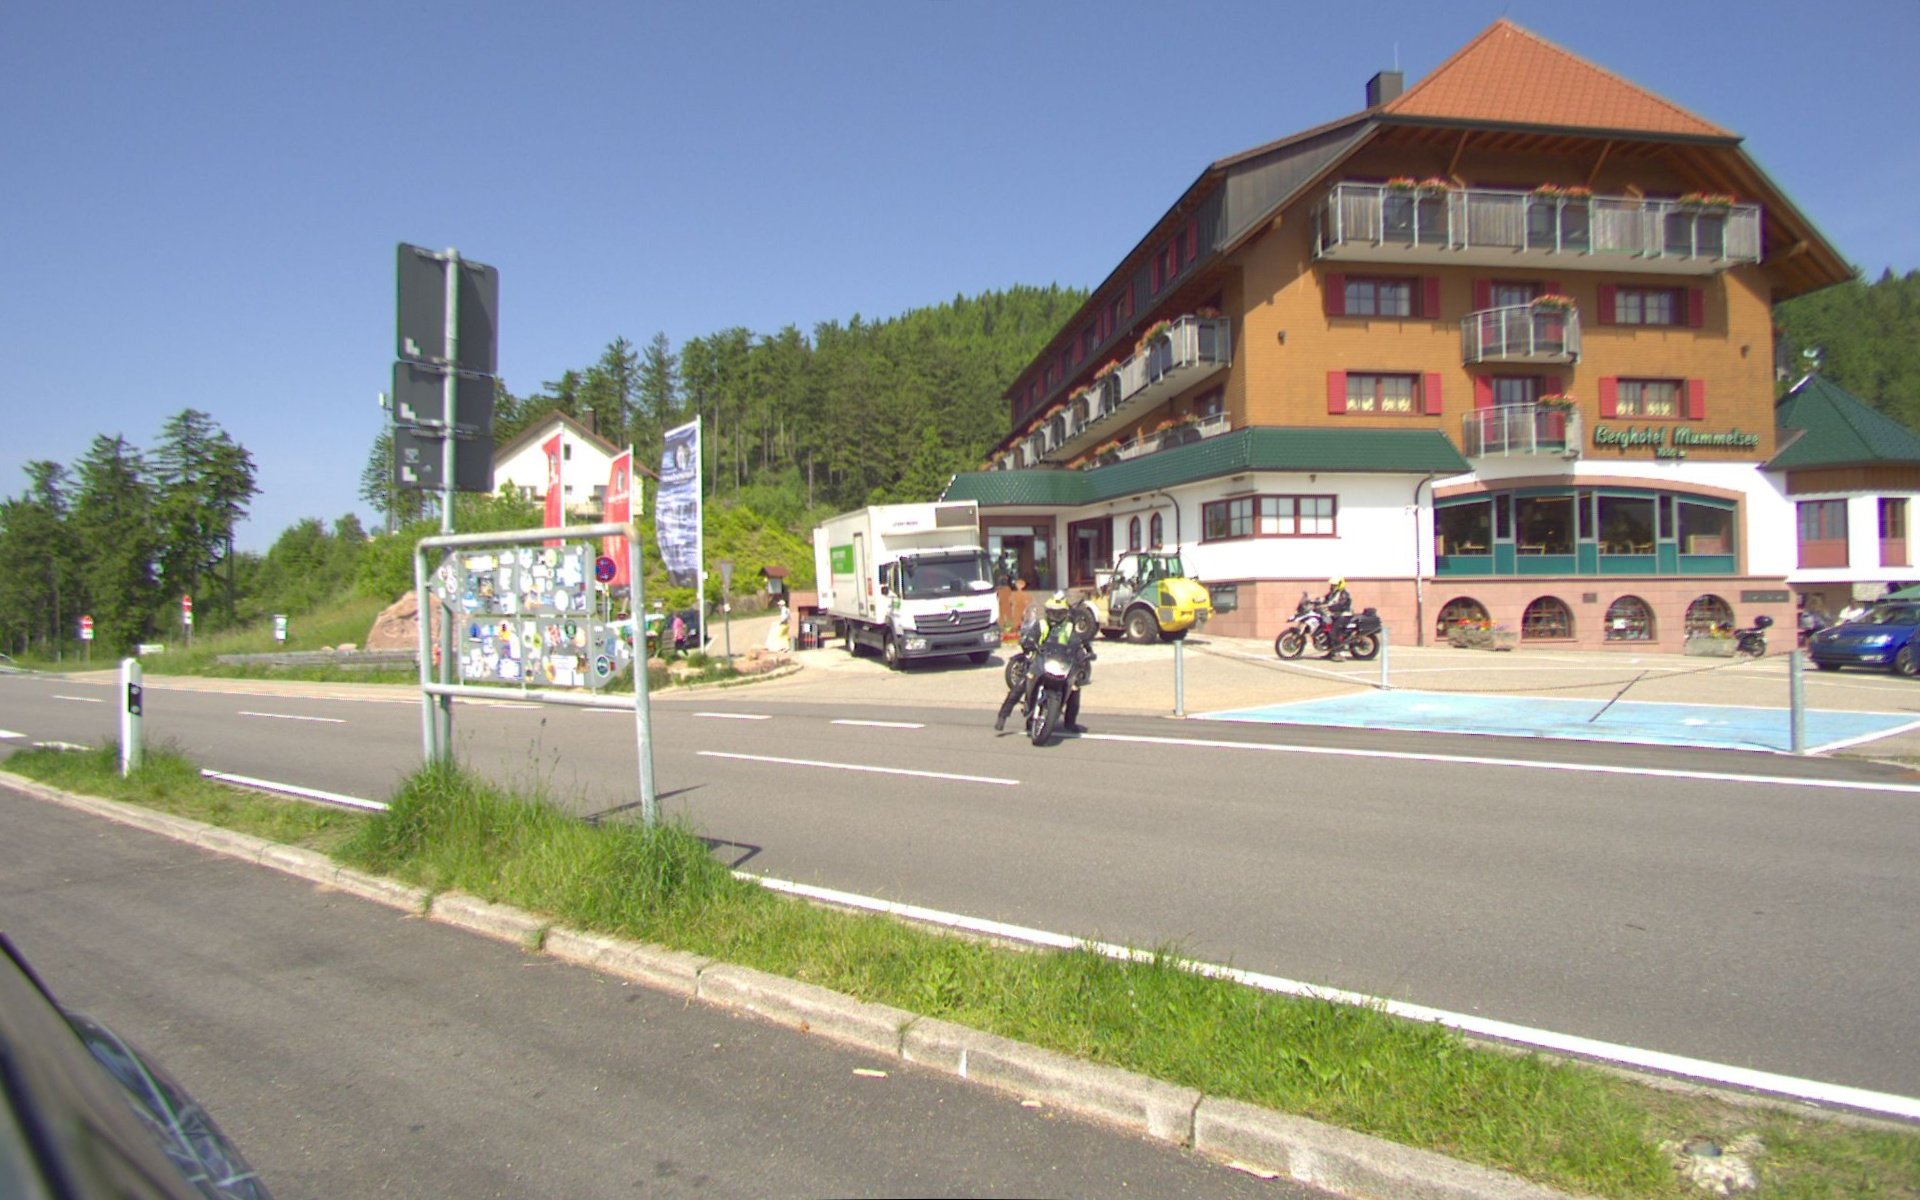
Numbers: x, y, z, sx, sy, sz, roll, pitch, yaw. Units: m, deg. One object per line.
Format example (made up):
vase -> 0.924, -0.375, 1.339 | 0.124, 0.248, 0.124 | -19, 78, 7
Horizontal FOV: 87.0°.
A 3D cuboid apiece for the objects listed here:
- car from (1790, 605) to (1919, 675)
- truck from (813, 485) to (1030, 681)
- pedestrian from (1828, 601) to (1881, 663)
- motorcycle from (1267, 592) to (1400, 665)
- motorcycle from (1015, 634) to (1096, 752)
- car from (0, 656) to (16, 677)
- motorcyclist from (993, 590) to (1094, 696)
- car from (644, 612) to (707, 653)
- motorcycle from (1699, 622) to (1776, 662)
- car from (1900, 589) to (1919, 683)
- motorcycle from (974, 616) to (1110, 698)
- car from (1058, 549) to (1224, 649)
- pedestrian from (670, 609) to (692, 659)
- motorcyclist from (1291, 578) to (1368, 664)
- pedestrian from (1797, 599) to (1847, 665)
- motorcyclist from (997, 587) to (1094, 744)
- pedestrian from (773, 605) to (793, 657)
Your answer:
car -> 19.120, 0.763, 20.164 | 3.936, 1.307, 1.717 | -1, -2, -8
truck -> -1.359, -0.466, 25.560 | 3.018, 4.001, 8.799 | -3, 2, -18
pedestrian -> 22.249, 0.793, 25.184 | 0.692, 1.500, 0.626 | -1, -2, -2
motorcycle -> 7.830, 0.586, 21.339 | 2.413, 1.417, 1.005 | -1, 1, 4
motorcycle -> 1.095, 1.005, 11.590 | 0.814, 1.186, 2.282 | -1, -1, 6
car -> -87.506, 5.950, 90.115 | 1.929, 1.896, 4.672 | -3, -5, 37
motorcyclist -> 1.460, 0.731, 17.796 | 1.427, 1.730, 0.929 | -2, 0, -29
car -> -11.975, 1.333, 42.806 | 1.851, 1.364, 4.006 | 0, 4, -5
motorcycle -> 22.933, 1.227, 29.892 | 0.473, 0.992, 1.796 | -6, 4, -18
car -> 18.368, 0.610, 16.210 | 1.908, 1.676, 4.555 | 0, -1, -11
motorcycle -> 1.450, 0.974, 17.784 | 2.238, 1.266, 0.882 | -2, 0, -29
car -> 4.890, -0.036, 27.578 | 3.998, 2.515, 1.973 | 1, 0, 41
pedestrian -> -9.728, 1.187, 35.224 | 0.687, 1.729, 0.801 | 0, -2, -19
motorcyclist -> 7.753, 0.431, 21.303 | 1.232, 1.732, 1.063 | -1, 1, 4
pedestrian -> 22.141, 0.818, 26.000 | 0.692, 1.645, 0.626 | -1, -2, -2
motorcyclist -> 0.981, 0.726, 11.596 | 1.016, 1.688, 1.291 | -1, -1, 6
pedestrian -> -5.883, 1.038, 33.599 | 0.565, 1.702, 0.655 | 0, -2, -19
